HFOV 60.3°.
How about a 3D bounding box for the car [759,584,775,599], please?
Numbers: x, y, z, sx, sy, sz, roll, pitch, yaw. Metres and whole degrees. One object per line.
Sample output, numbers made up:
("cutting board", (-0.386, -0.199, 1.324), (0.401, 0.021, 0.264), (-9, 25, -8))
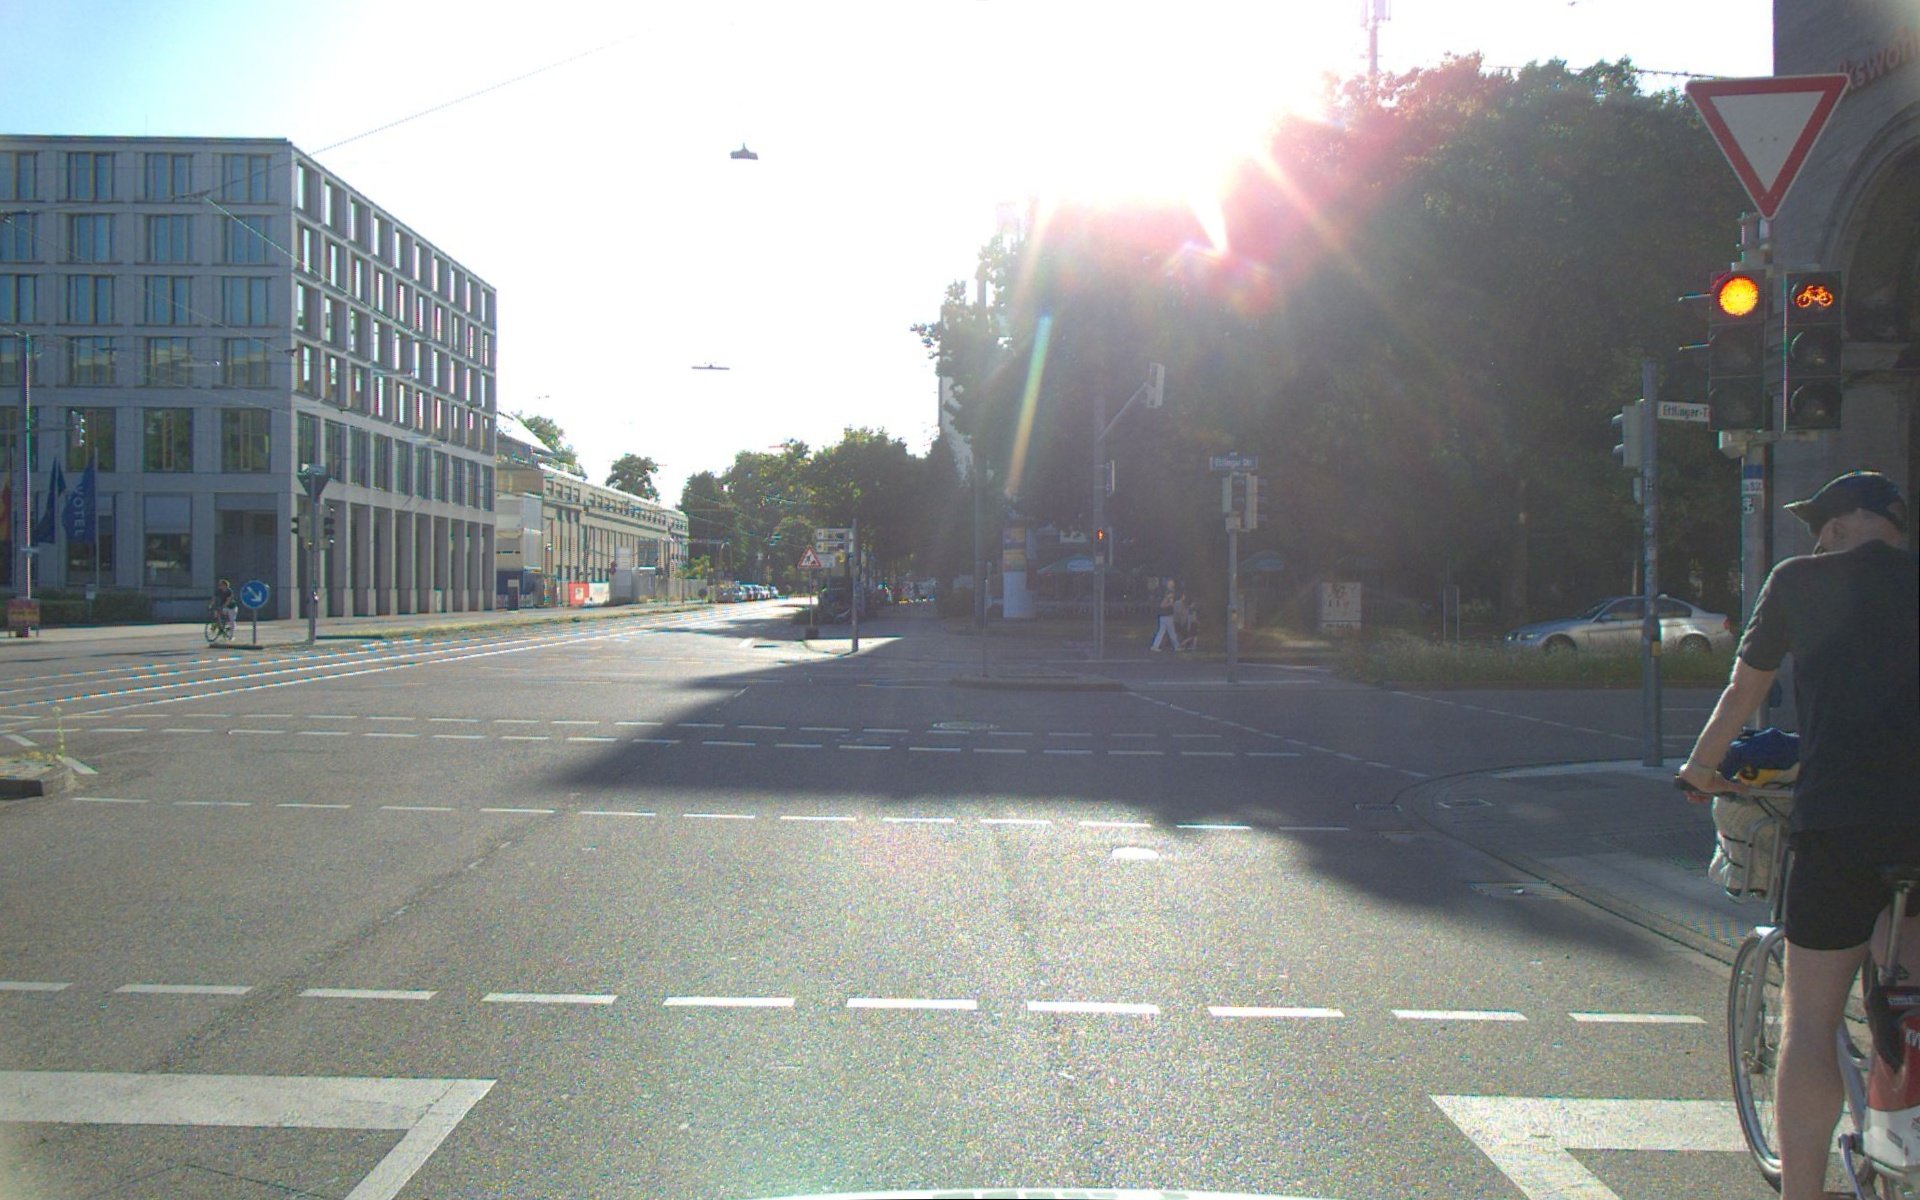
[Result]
("car", (-22.643, -0.978, 193.834), (1.453, 1.780, 3.999), (0, 0, -1))

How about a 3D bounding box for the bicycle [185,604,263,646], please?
("bicycle", (-20.957, 0.684, 47.171), (0.857, 1.140, 3.013), (0, 0, 0))

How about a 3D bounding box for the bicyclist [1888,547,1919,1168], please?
("bicyclist", (2.885, 0.710, 4.269), (0.511, 1.709, 0.859), (0, 0, 2))

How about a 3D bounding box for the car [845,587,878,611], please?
("car", (-5.469, -0.059, 92.237), (1.783, 1.301, 3.998), (0, 0, -3))

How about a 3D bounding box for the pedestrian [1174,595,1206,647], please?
("pedestrian", (6.028, 0.554, 43.415), (0.736, 1.356, 0.743), (0, 0, 1))

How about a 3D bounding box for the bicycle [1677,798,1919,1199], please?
("bicycle", (2.212, 1.057, 3.966), (0.381, 0.921, 1.952), (0, 0, 8))

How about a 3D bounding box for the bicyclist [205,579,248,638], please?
("bicyclist", (-20.938, 0.244, 47.221), (0.857, 1.670, 0.822), (0, 0, 0))

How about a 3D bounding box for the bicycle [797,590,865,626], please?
("bicycle", (-5.229, 0.334, 67.048), (2.688, 1.391, 0.631), (1, -1, 10))

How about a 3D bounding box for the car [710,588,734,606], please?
("car", (-22.400, -0.312, 155.737), (1.695, 1.682, 3.999), (0, 0, -1))

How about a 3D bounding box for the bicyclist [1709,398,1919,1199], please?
("bicyclist", (2.139, 0.434, 3.727), (0.655, 1.707, 0.657), (0, 0, 8))

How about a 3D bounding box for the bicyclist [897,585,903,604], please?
("bicyclist", (-3.581, -0.307, 98.387), (0.311, 1.147, 0.291), (0, 0, 9))

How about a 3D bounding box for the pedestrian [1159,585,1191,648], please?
("pedestrian", (5.803, 0.438, 44.662), (0.779, 1.668, 0.533), (0, 0, 2))

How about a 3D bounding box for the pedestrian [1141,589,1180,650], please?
("pedestrian", (5.329, 0.524, 44.020), (0.964, 1.615, 0.660), (0, -1, 1))

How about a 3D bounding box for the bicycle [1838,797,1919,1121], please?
("bicycle", (3.003, 1.082, 4.338), (0.418, 0.891, 1.951), (0, 0, 2))

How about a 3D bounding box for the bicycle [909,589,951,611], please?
("bicycle", (-1.852, -0.007, 103.156), (2.523, 1.311, 0.726), (1, -1, -12))

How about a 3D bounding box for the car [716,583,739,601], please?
("car", (-22.420, -0.754, 159.770), (1.695, 1.682, 3.999), (0, 0, -1))

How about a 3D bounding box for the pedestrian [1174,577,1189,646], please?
("pedestrian", (5.951, 0.307, 44.490), (0.353, 1.836, 0.507), (0, 0, 11))

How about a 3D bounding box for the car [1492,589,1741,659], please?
("car", (13.251, 0.471, 33.567), (4.350, 1.352, 1.777), (0, 0, 2))
